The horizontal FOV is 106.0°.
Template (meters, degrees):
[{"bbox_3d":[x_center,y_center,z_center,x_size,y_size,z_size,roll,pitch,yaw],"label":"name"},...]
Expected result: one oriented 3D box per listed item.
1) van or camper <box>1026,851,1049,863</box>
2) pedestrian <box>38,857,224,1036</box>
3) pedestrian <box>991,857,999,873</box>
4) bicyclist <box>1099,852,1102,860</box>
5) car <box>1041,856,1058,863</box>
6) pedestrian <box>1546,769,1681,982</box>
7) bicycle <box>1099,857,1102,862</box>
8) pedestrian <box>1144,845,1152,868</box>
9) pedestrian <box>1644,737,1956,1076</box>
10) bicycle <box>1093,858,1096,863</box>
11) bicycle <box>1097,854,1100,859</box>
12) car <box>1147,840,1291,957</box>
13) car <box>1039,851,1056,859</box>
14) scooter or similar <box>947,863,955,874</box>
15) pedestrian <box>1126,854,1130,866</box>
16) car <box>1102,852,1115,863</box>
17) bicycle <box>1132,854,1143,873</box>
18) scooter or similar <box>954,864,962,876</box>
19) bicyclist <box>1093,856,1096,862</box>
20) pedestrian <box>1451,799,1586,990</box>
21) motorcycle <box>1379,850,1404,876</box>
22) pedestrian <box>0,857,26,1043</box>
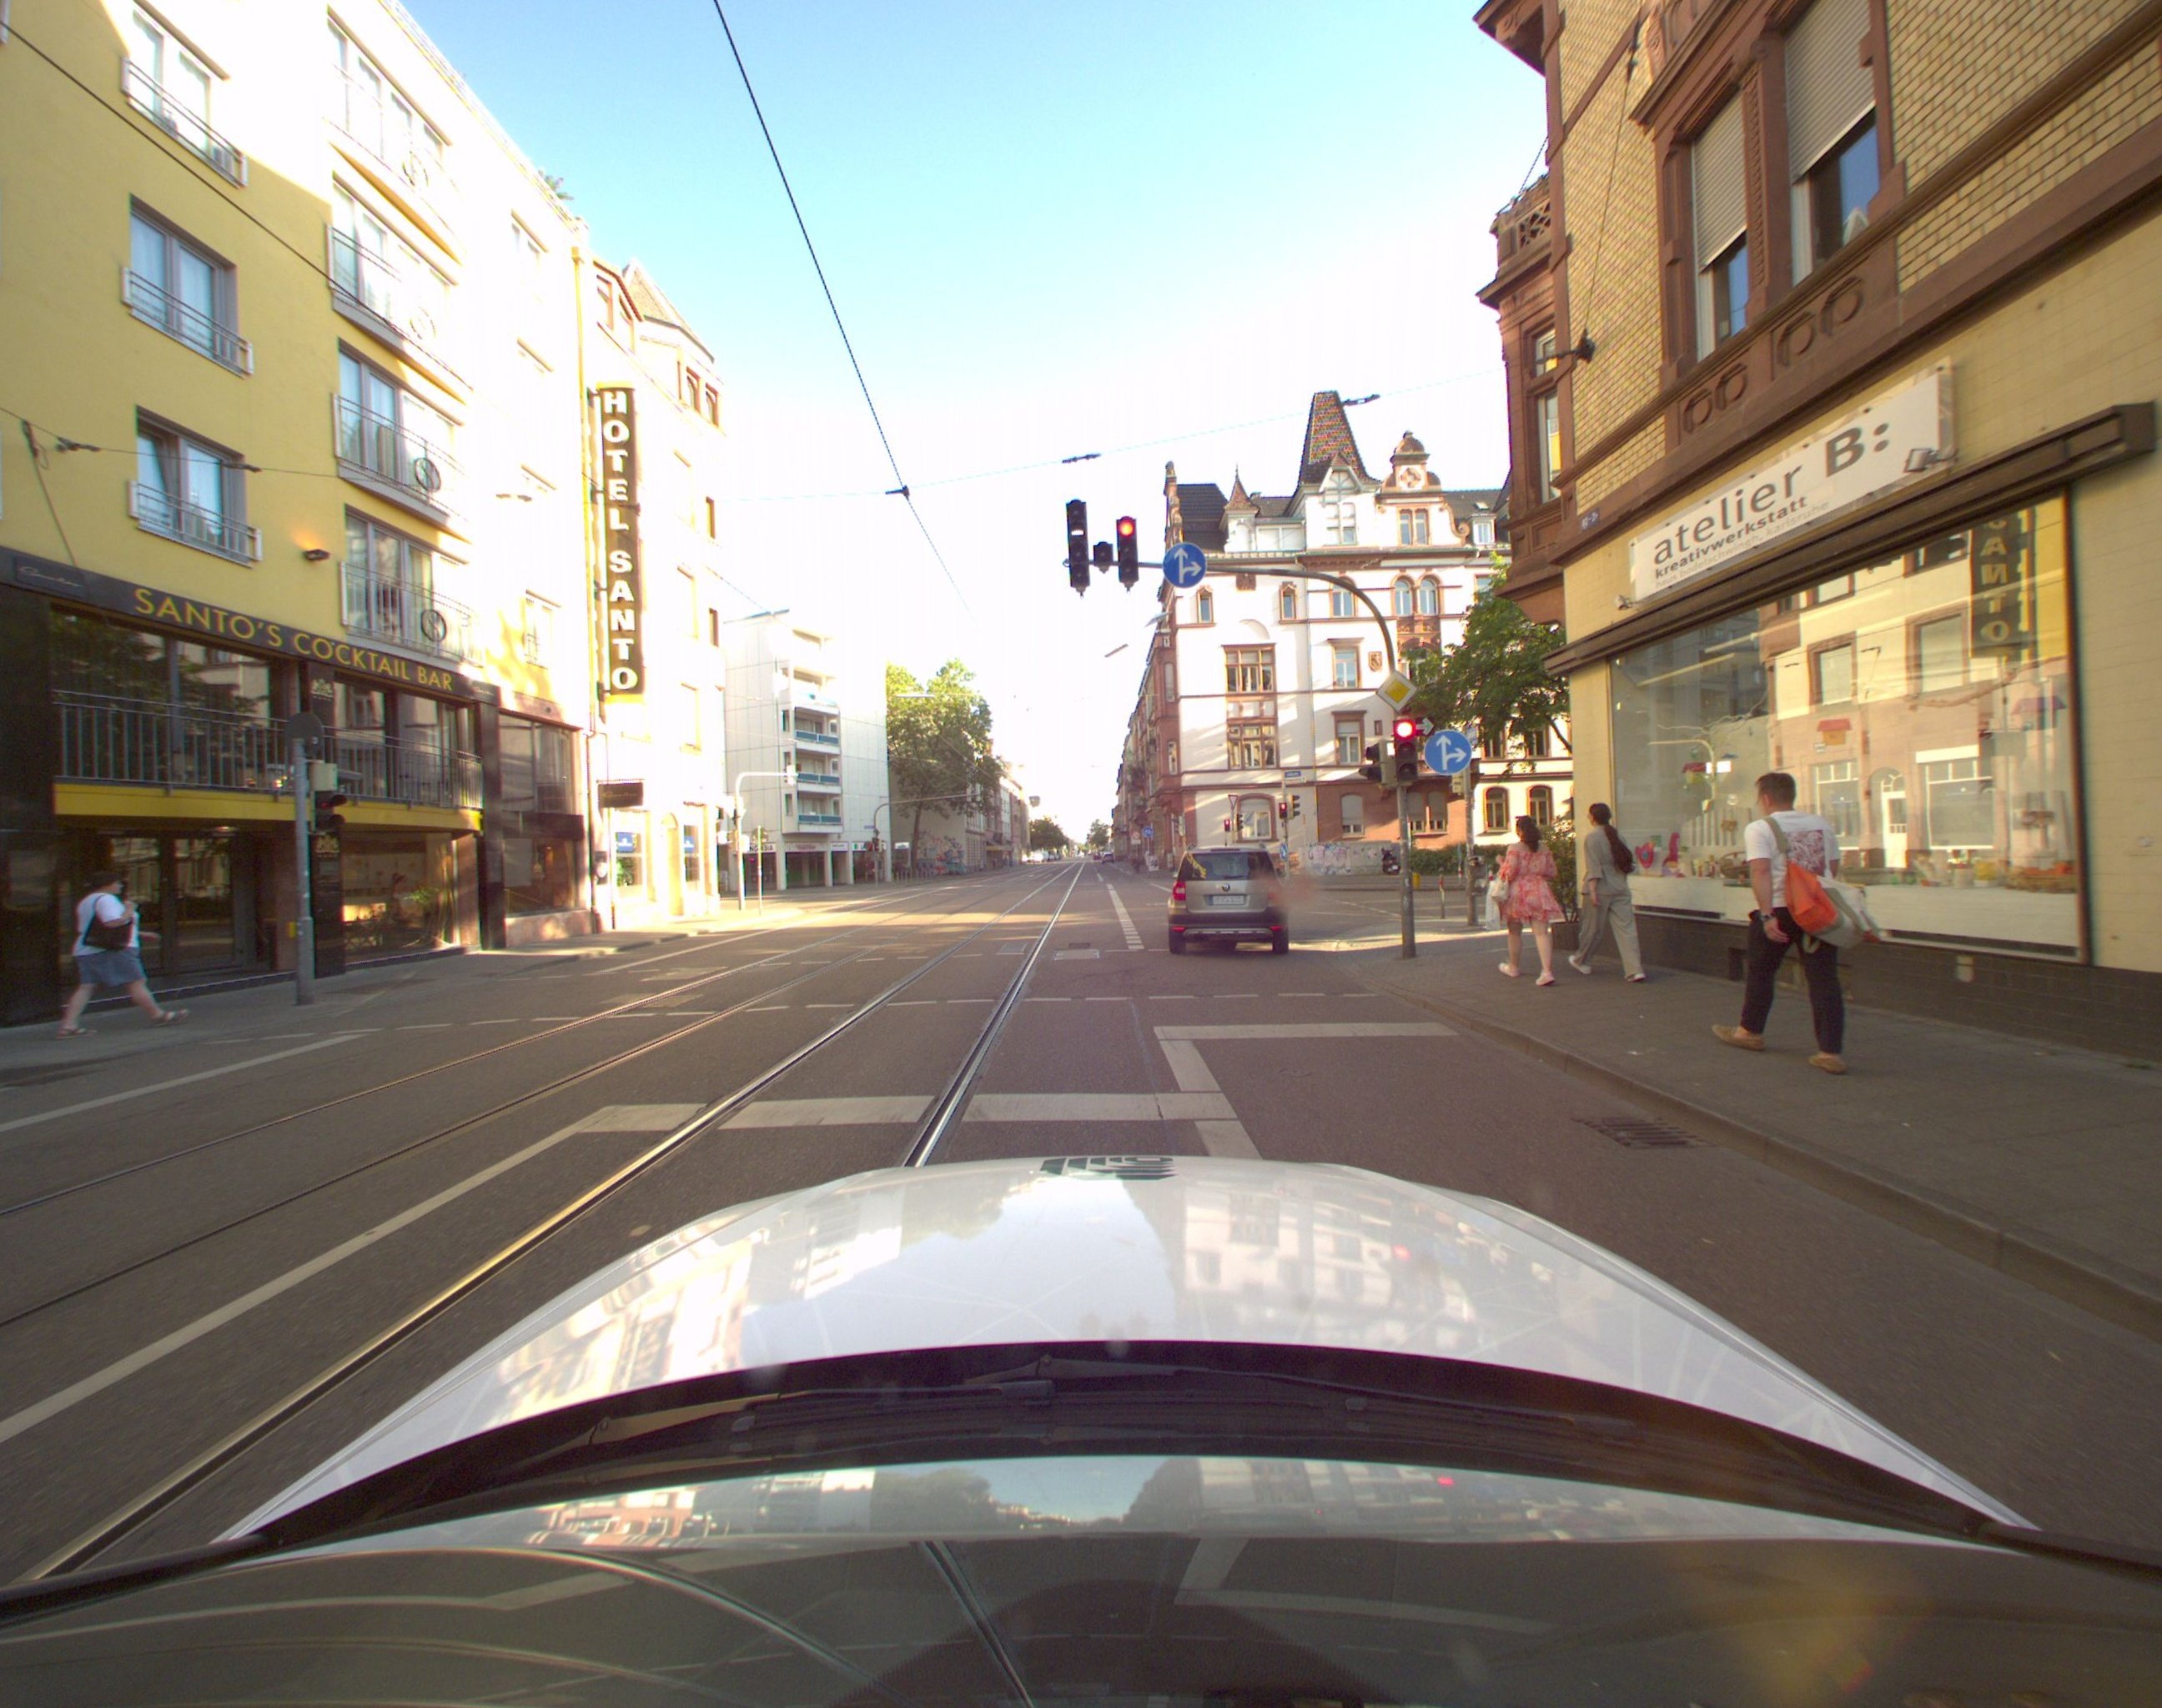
[{"bbox_3d":[-9.430,0.655,177.364,4.664,2.563,1.980,-1,-1,-31],"label":"van or camper"},{"bbox_3d":[-10.457,0.968,9.016,0.749,1.818,1.046,2,0,0],"label":"pedestrian"},{"bbox_3d":[-9.544,1.235,90.247,0.699,1.728,0.648,-2,0,0],"label":"pedestrian"},{"bbox_3d":[3.818,0.467,158.737,0.573,1.554,0.595,-2,0,1],"label":"bicyclist"},{"bbox_3d":[-8.772,1.552,226.563,4.006,2.013,1.984,-2,0,-25],"label":"car"},{"bbox_3d":[5.137,0.195,7.897,0.688,1.908,0.670,-6,0,-1],"label":"pedestrian"},{"bbox_3d":[3.841,1.018,158.738,0.573,1.030,1.896,-2,0,2],"label":"bicycle"},{"bbox_3d":[5.205,0.193,63.637,0.542,1.780,0.504,-2,0,1],"label":"pedestrian"},{"bbox_3d":[4.360,0.284,5.055,0.803,1.799,1.091,-6,0,-1],"label":"pedestrian"},{"bbox_3d":[3.082,1.466,189.470,0.573,1.030,1.896,-2,0,2],"label":"bicycle"},{"bbox_3d":[3.892,0.612,184.638,0.573,1.030,1.896,-2,0,2],"label":"bicycle"},{"bbox_3d":[2.387,0.618,13.416,1.979,1.618,4.015,-1,0,13],"label":"car"},{"bbox_3d":[-8.816,0.346,212.961,4.006,2.013,1.984,-2,0,-25],"label":"car"},{"bbox_3d":[-12.502,1.366,78.452,0.515,1.045,1.477,-2,0,-1],"label":"scooter or similar"},{"bbox_3d":[7.044,0.902,121.469,0.542,1.780,0.749,-2,0,1],"label":"pedestrian"},{"bbox_3d":[4.234,0.527,127.280,1.943,1.684,4.002,-2,0,2],"label":"car"},{"bbox_3d":[4.011,0.682,57.918,0.650,1.323,2.178,-2,0,3],"label":"bicycle"},{"bbox_3d":[-11.830,1.531,78.486,0.515,1.057,1.477,-2,0,-1],"label":"scooter or similar"},{"bbox_3d":[3.070,1.092,189.696,0.573,1.452,0.645,-2,0,2],"label":"bicyclist"},{"bbox_3d":[4.467,0.392,8.372,0.803,1.799,0.761,-6,0,-1],"label":"pedestrian"},{"bbox_3d":[14.233,0.390,37.373,0.714,1.020,2.295,-2,2,12],"label":"motorcycle"},{"bbox_3d":[-10.700,0.908,7.543,0.795,1.771,0.749,2,0,0],"label":"pedestrian"}]
